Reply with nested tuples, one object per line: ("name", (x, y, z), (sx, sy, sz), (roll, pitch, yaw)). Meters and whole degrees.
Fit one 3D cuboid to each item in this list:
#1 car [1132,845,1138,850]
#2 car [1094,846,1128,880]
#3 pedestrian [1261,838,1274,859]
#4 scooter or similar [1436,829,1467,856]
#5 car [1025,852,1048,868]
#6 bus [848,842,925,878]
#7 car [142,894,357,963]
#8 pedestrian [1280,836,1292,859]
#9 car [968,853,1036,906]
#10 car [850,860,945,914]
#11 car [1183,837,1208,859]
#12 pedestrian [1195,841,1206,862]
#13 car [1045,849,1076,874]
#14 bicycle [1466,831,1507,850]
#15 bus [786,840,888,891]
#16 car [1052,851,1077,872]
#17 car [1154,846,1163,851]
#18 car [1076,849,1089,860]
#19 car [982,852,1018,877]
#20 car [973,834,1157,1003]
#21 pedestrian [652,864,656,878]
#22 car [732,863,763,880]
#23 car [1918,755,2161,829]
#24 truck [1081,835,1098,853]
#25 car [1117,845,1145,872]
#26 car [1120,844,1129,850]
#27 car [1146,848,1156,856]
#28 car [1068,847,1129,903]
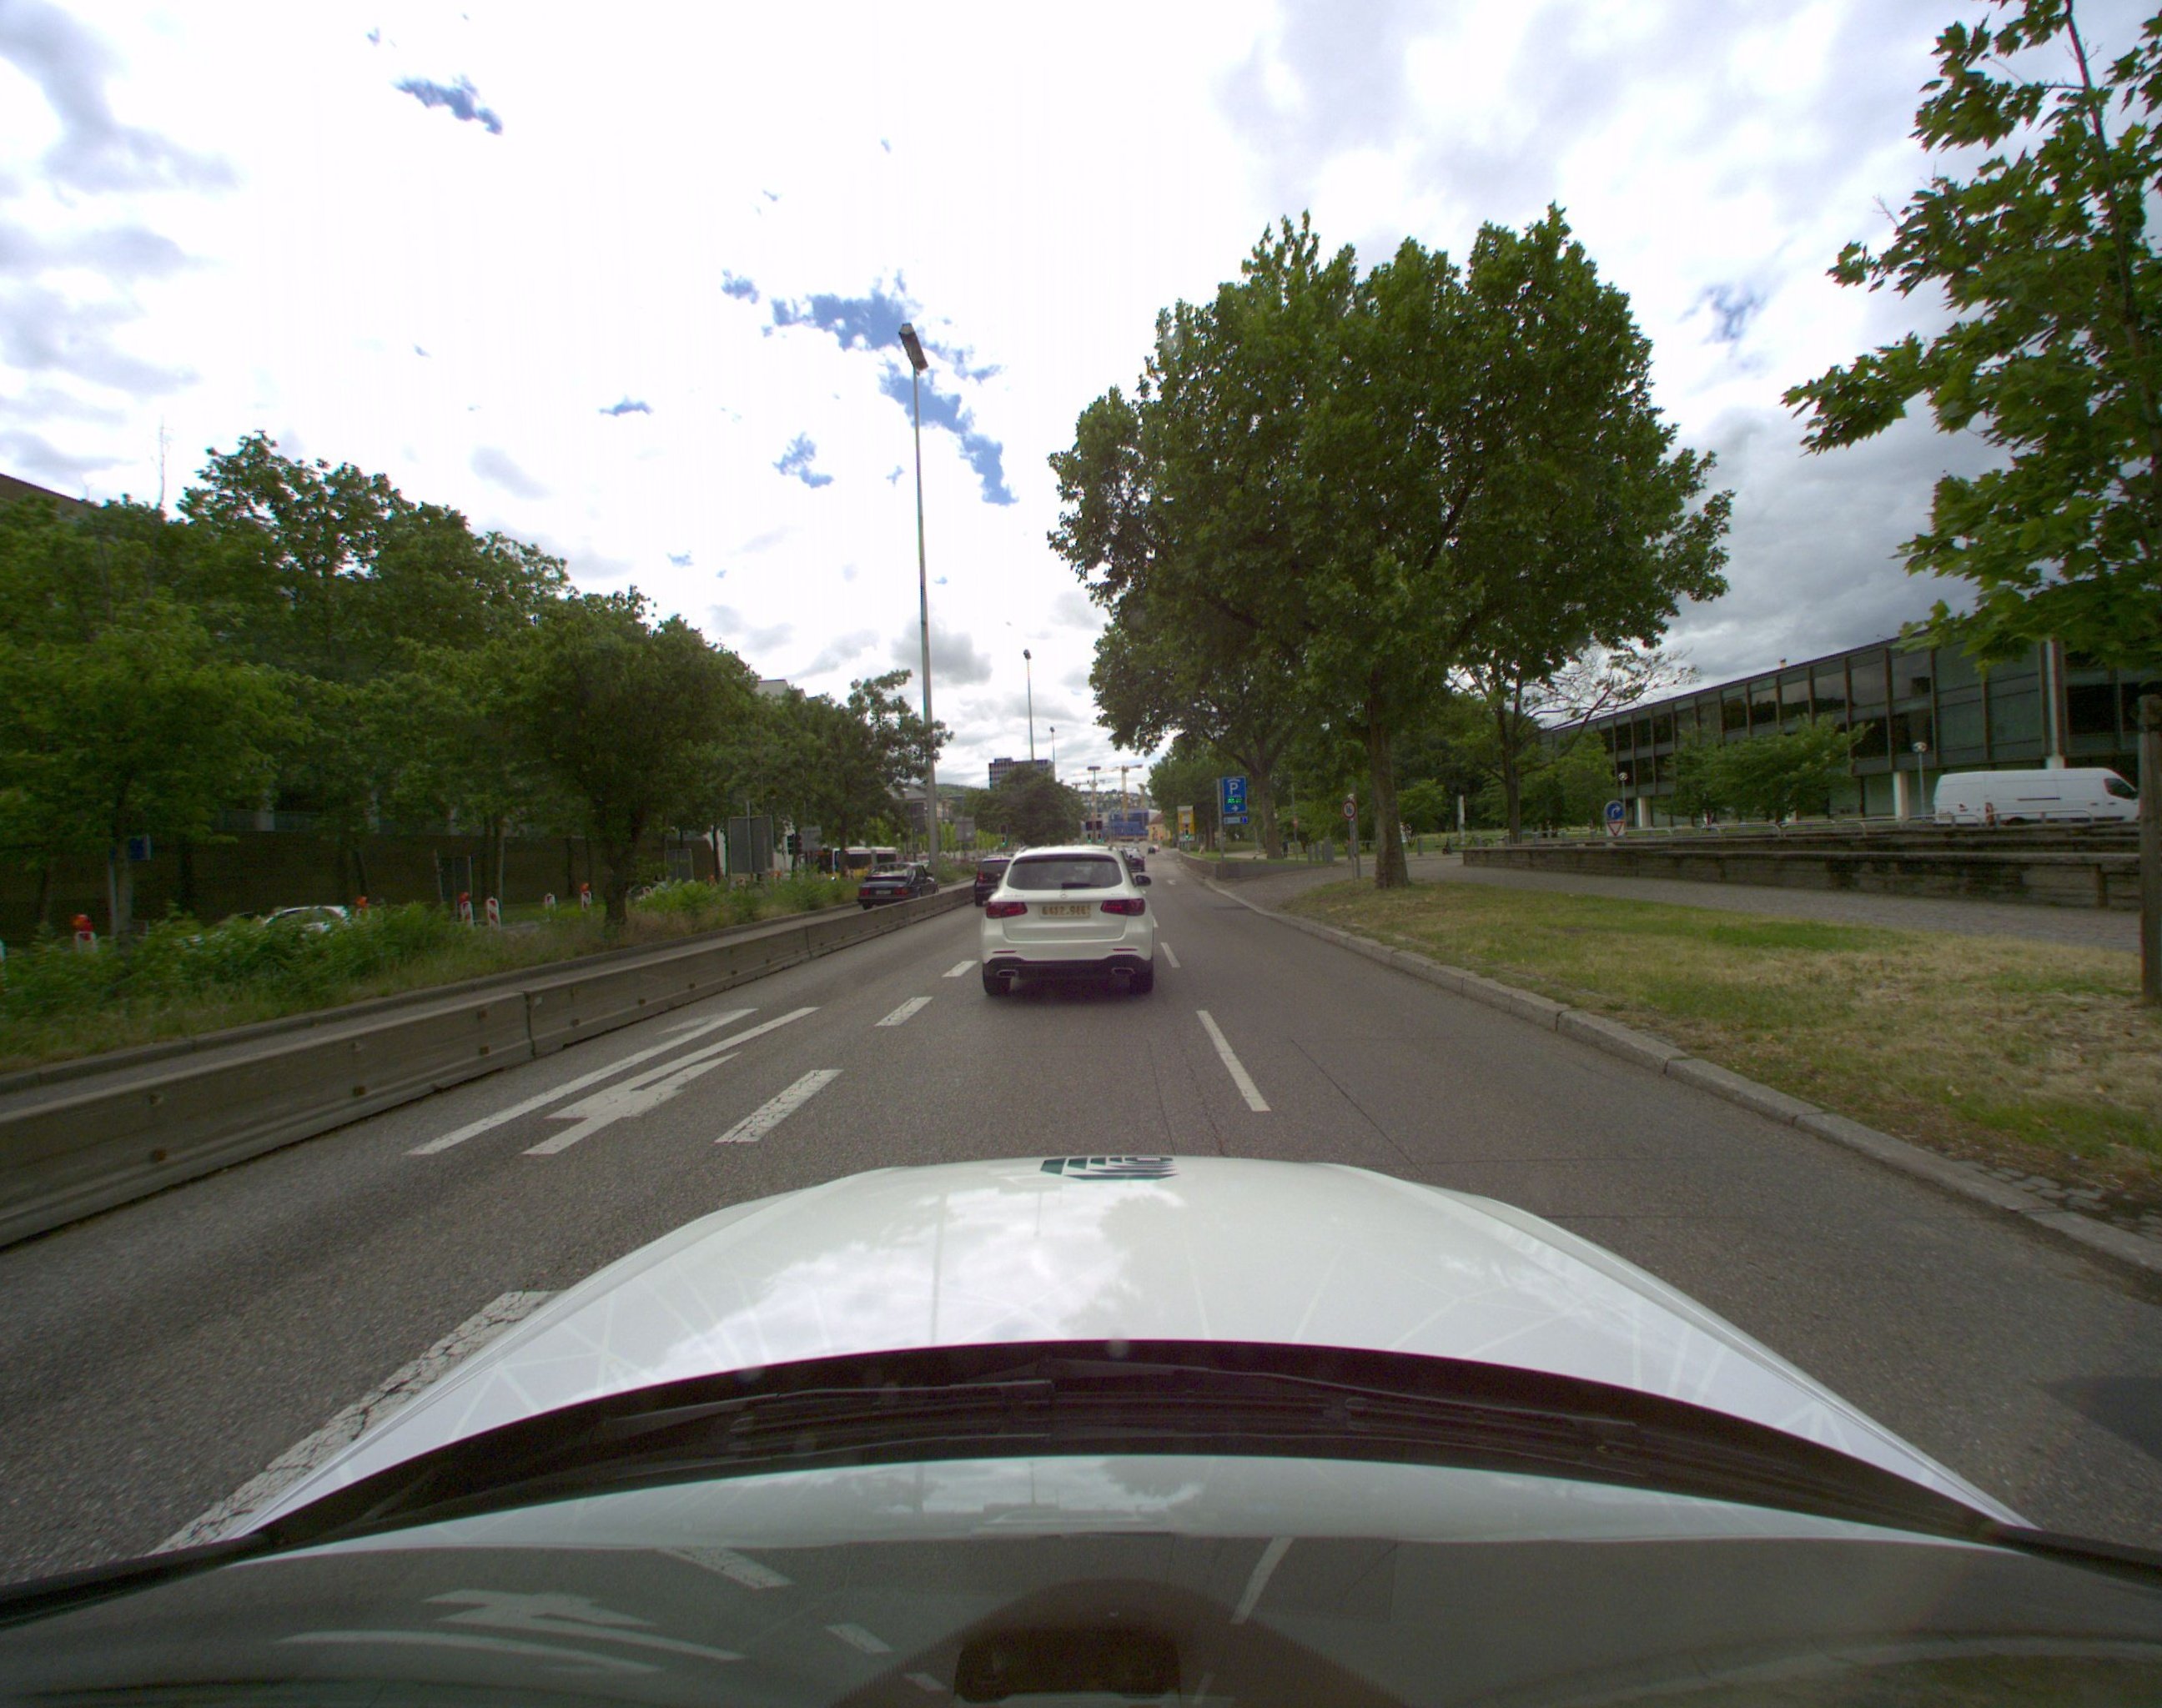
("car", (16.067, -1.929, 241.559), (1.751, 1.669, 4.171), (-2, 0, 2))
("car", (1.571, 0.445, 42.065), (1.652, 1.639, 3.550), (-2, 0, 3))
("pedestrian", (14.354, -0.428, 62.620), (0.662, 1.610, 0.637), (-3, 0, -16))
("scooter or similar", (18.054, -0.541, 39.709), (0.633, 1.245, 2.228), (-1, 0, 5))
("car", (-4.309, 0.549, 80.011), (1.769, 1.420, 4.003), (-3, 0, 3))
("bus", (-19.664, 0.493, 83.582), (3.652, 3.205, 14.285), (-3, 0, 3))
("car", (-21.730, 1.886, 21.530), (1.654, 1.383, 3.805), (-3, 0, 2))
("pedestrian", (16.135, -0.513, 64.101), (0.754, 1.724, 0.701), (-3, 0, 10))
("car", (-2.442, 0.756, 26.002), (1.602, 1.473, 3.624), (-2, 0, 2))
("car", (-5.436, 0.918, 24.720), (1.672, 1.367, 4.545), (-3, 0, 2))
("car", (11.013, -0.578, 78.416), (1.985, 2.013, 4.003), (-2, 0, 3))
("pedestrian", (11.914, -0.264, 80.924), (0.752, 2.013, 0.703), (-3, 0, 38))
("car", (-1.243, 0.461, 51.148), (1.791, 1.437, 4.020), (-2, 0, 1))
("bicycle", (22.479, -0.711, 45.180), (0.950, 0.975, 2.788), (-1, 0, 2))
("bus", (-20.435, 0.776, 69.707), (3.652, 3.204, 14.289), (-3, 3, 3))
("car", (-1.305, 0.587, 67.087), (1.845, 1.628, 4.907), (-2, 0, 1))
("car", (19.201, -1.387, 201.238), (1.939, 1.319, 4.020), (-2, 0, 3))
("car", (0.282, 0.055, 119.443), (1.652, 1.513, 3.550), (-3, 0, 3))
("car", (-4.980, 0.647, 50.635), (1.655, 1.436, 3.962), (-2, 0, 2))
("car", (-0.002, 0.637, 10.272), (1.780, 1.625, 4.442), (-2, 0, 4))
("pedestrian", (-32.322, 1.309, 61.643), (0.214, 1.078, 0.258), (0, -1, -16))
("car", (-41.107, 2.180, 100.387), (1.986, 1.914, 4.002), (-3, 0, 2))
("car", (34.809, -2.185, 29.569), (6.081, 2.260, 2.404), (-2, 0, 3))
("truck", (1.404, -1.640, 132.799), (2.611, 2.861, 7.080), (-1, 0, 1))
("car", (3.519, 0.318, 58.034), (1.818, 1.752, 4.002), (-3, 0, 2))
("car", (10.581, -1.634, 198.232), (1.939, 1.319, 4.020), (-2, 0, 3))
("car", (14.371, -0.422, 168.101), (1.939, 1.428, 4.020), (-2, 0, 3))
("car", (0.578, 0.607, 26.350), (1.789, 1.608, 3.756), (-1, 1, 1))
